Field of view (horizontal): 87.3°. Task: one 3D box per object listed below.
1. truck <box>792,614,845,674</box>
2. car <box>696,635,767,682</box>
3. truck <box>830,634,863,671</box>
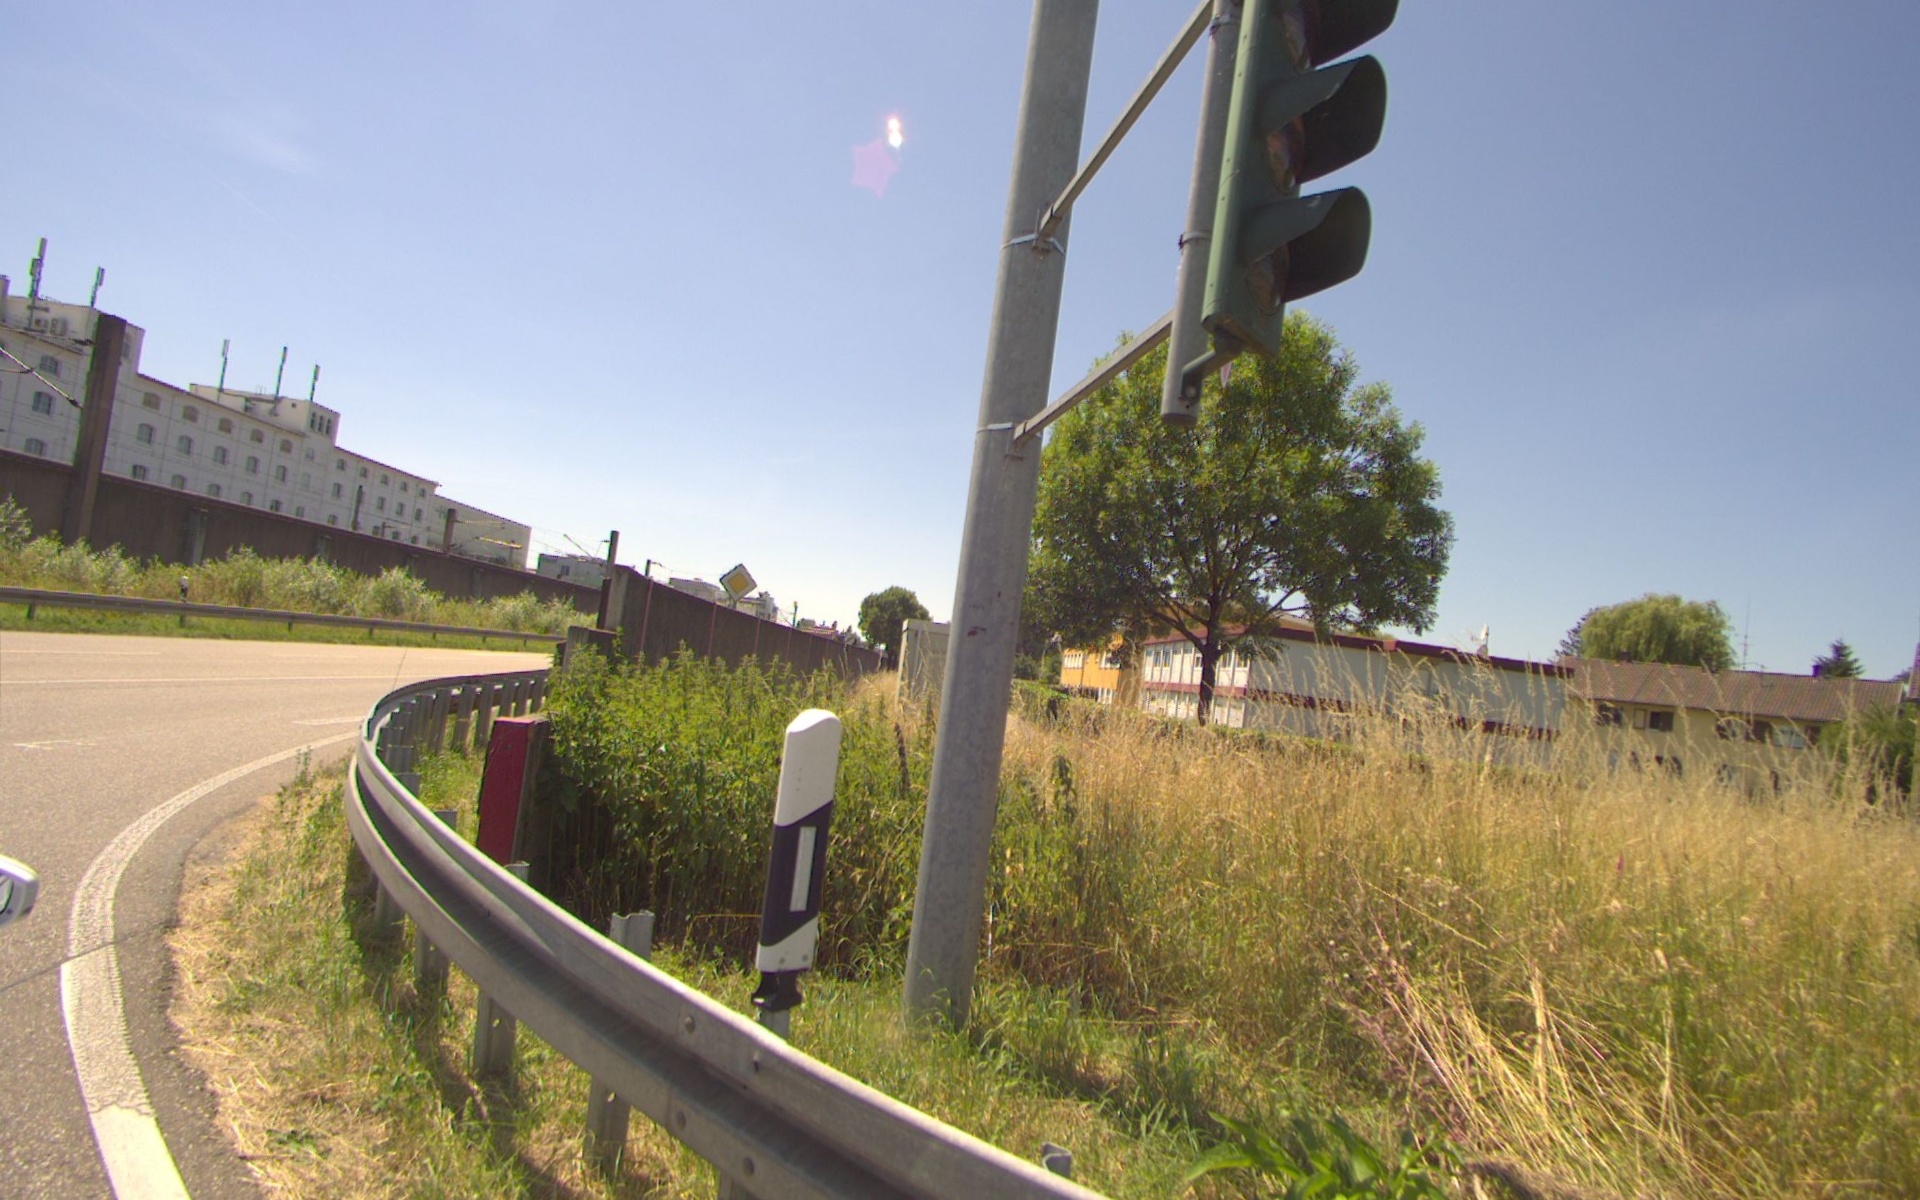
[{"bbox_3d":[-11.472,3.778,82.730,2.951,4.223,11.824,6,-5,-3],"label":"truck"},{"bbox_3d":[-9.295,2.443,41.245,1.964,1.517,4.008,7,-6,-1],"label":"car"},{"bbox_3d":[-13.312,6.351,118.902,2.951,3.758,10.575,6,-5,-3],"label":"truck"}]
